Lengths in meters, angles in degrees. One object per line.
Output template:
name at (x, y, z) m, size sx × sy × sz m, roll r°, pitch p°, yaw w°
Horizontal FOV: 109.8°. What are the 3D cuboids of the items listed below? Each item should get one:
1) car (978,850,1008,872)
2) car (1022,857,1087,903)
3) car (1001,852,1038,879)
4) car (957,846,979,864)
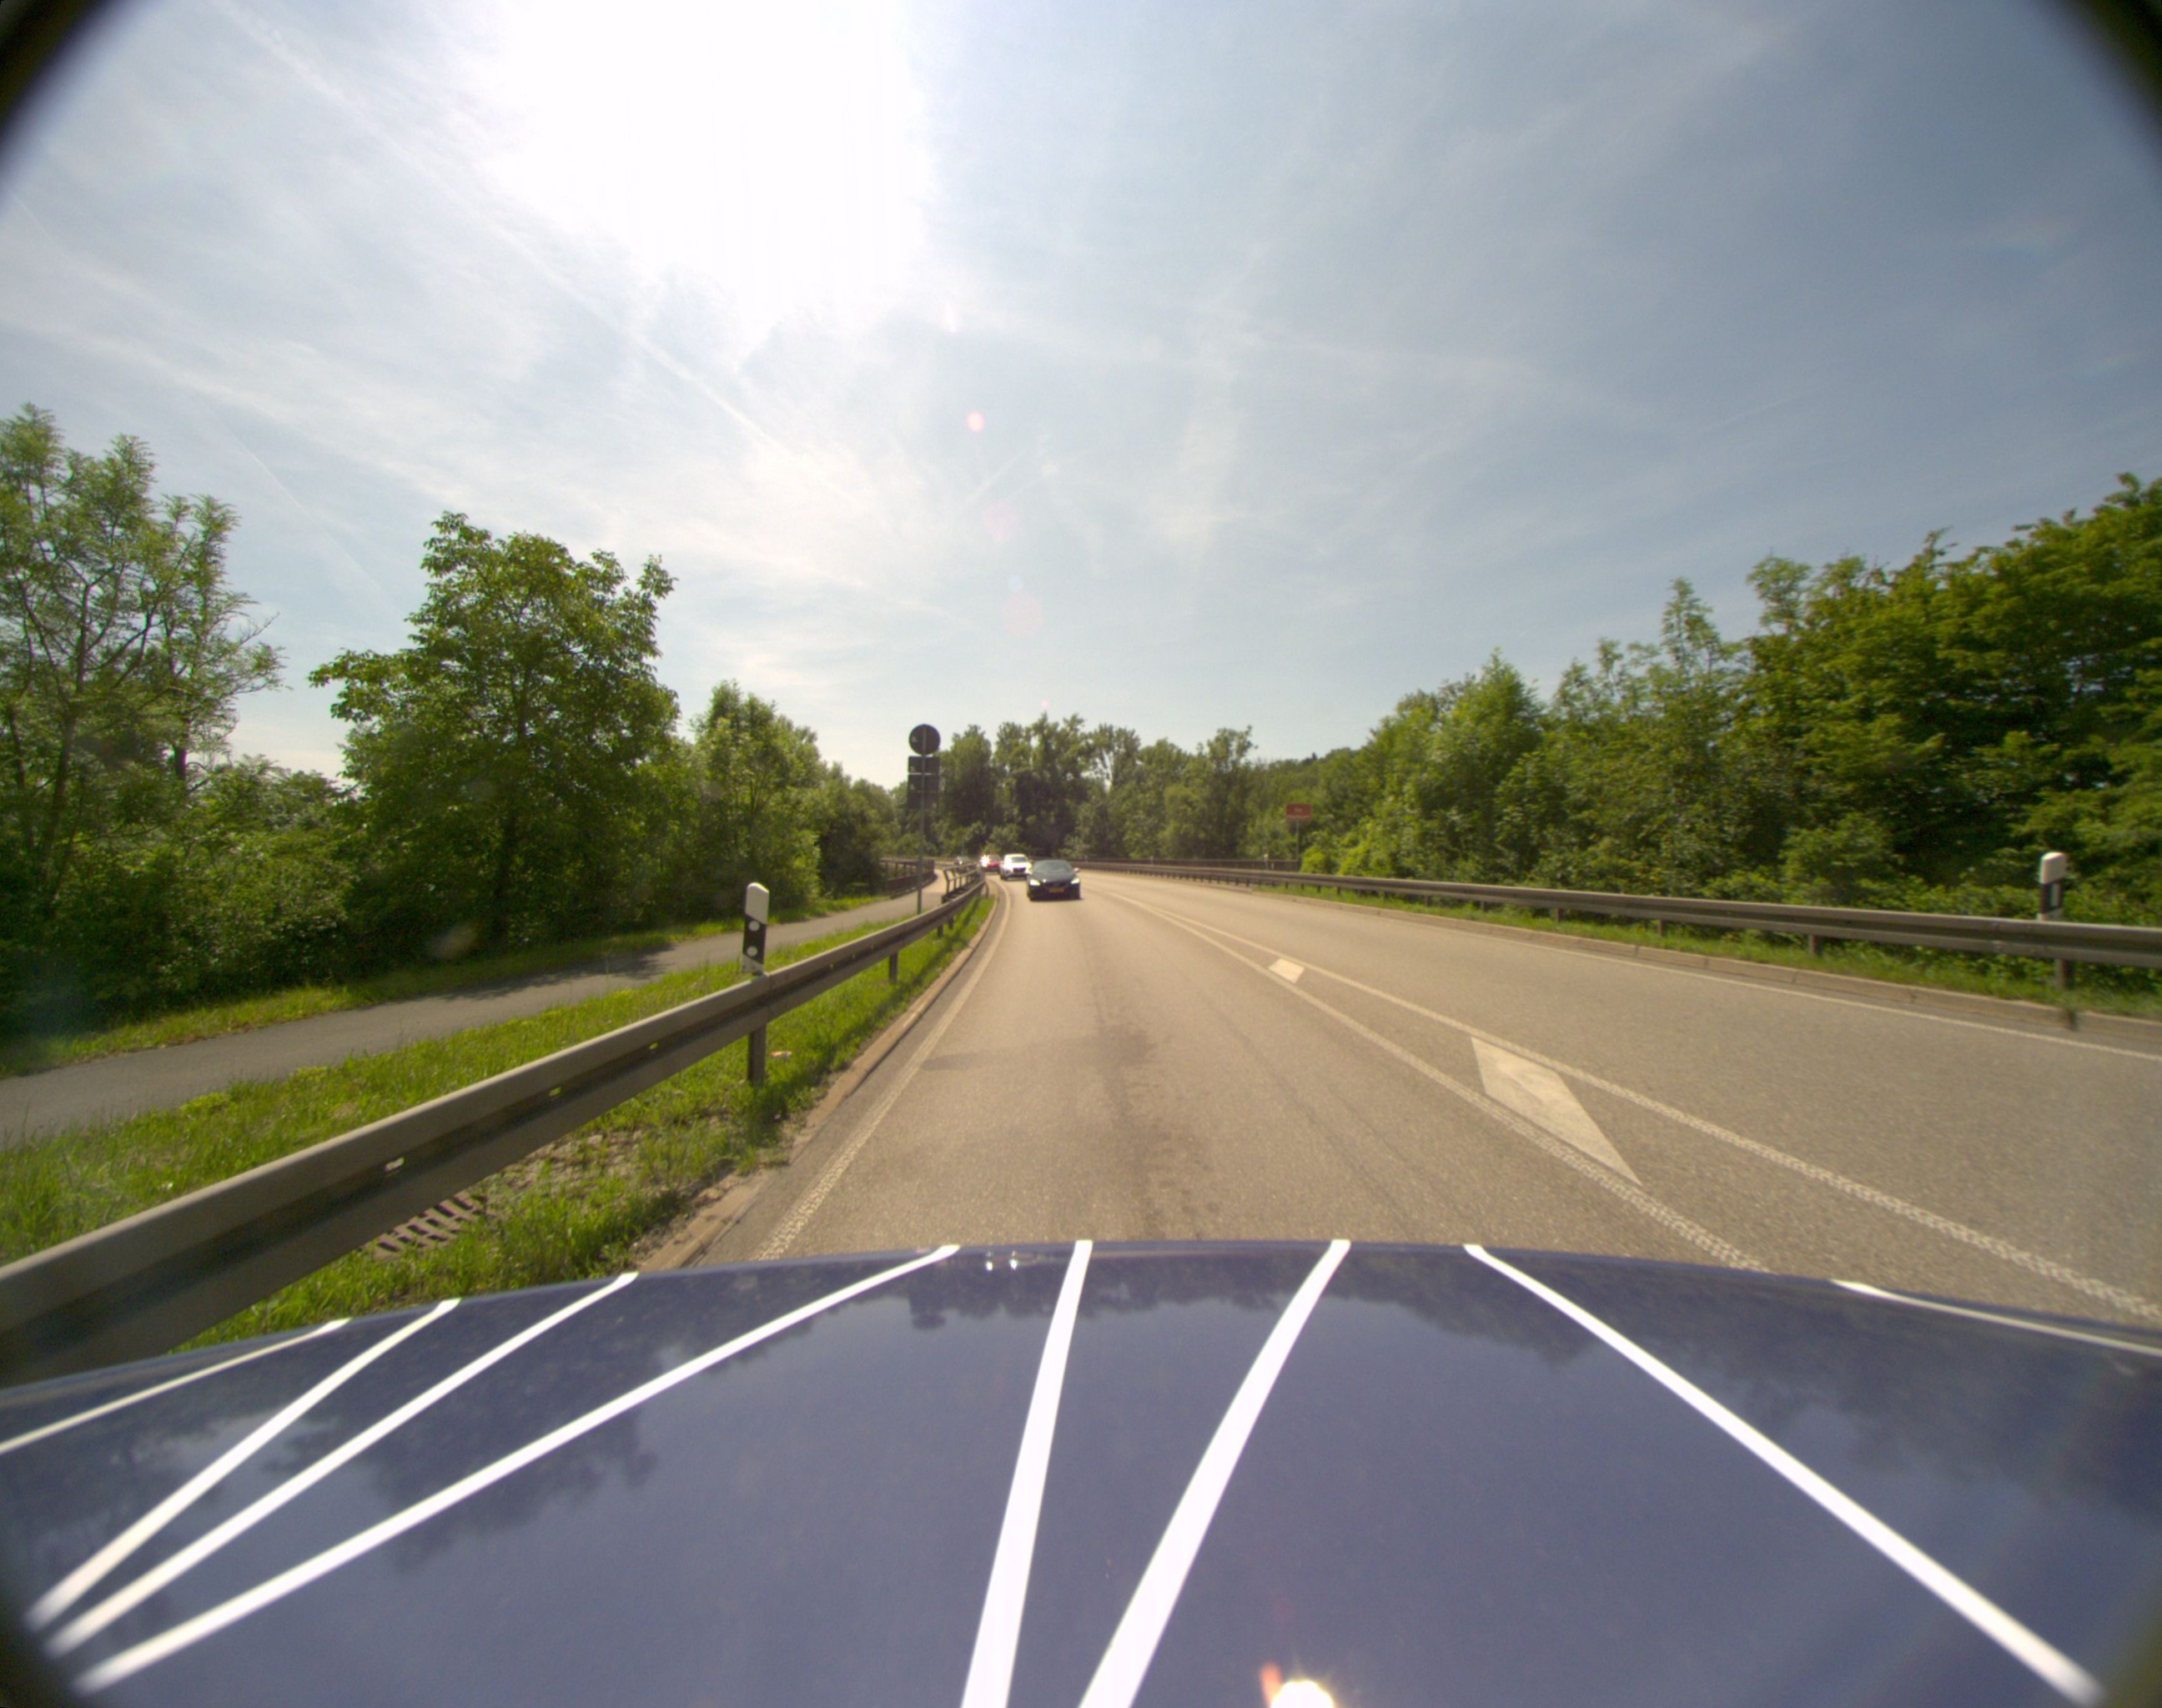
car at (-7.464, 0.601, 64.162) m, size 2.001 × 1.765 × 3.996 m, roll -2°, pitch 0°, yaw -13°
car at (-1.046, 0.886, 27.657) m, size 1.910 × 1.413 × 3.947 m, roll -3°, pitch 1°, yaw -8°
car at (-4.019, 0.719, 49.211) m, size 1.911 × 1.638 × 3.947 m, roll -2°, pitch 0°, yaw -10°
car at (-13.151, 0.079, 88.177) m, size 2.001 × 2.002 × 3.994 m, roll -3°, pitch 2°, yaw -15°
